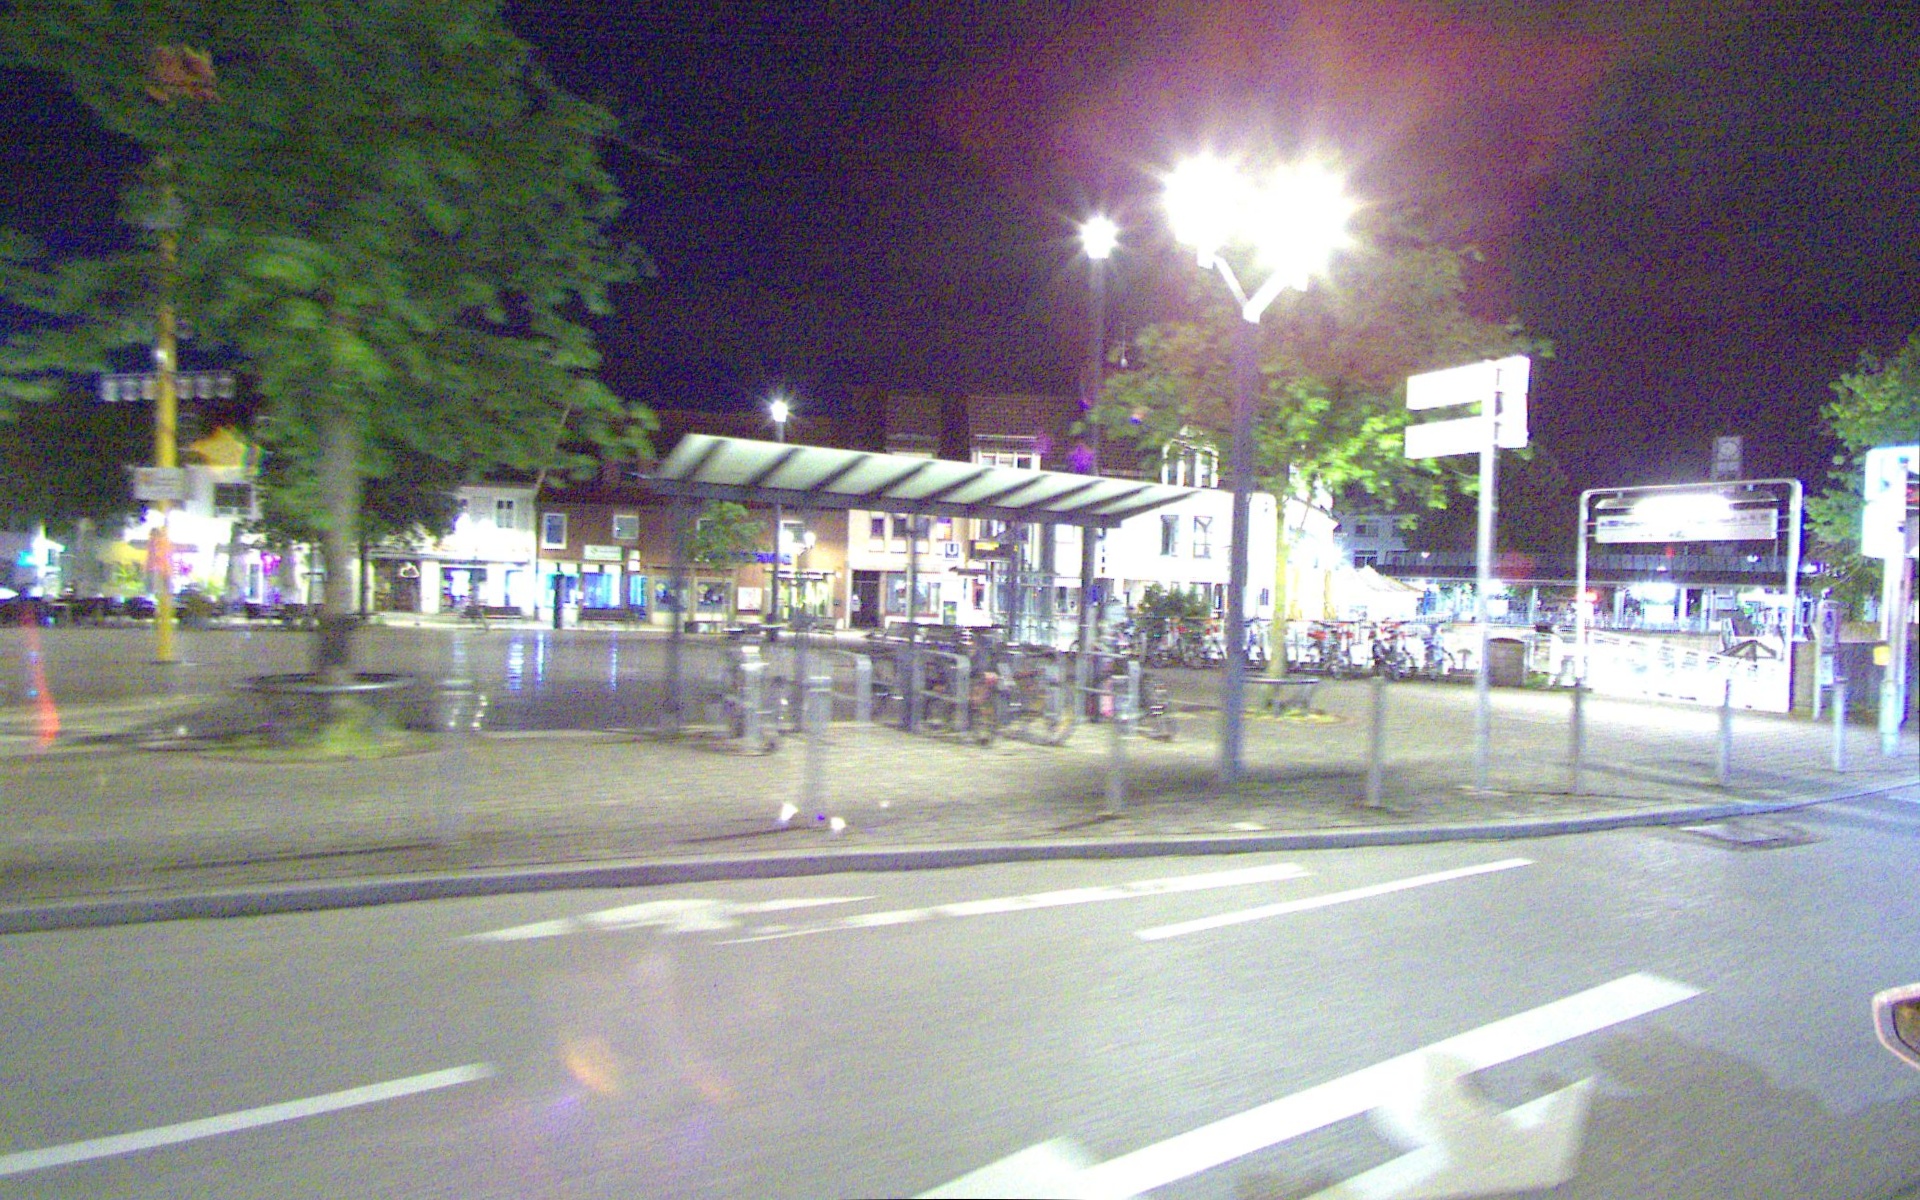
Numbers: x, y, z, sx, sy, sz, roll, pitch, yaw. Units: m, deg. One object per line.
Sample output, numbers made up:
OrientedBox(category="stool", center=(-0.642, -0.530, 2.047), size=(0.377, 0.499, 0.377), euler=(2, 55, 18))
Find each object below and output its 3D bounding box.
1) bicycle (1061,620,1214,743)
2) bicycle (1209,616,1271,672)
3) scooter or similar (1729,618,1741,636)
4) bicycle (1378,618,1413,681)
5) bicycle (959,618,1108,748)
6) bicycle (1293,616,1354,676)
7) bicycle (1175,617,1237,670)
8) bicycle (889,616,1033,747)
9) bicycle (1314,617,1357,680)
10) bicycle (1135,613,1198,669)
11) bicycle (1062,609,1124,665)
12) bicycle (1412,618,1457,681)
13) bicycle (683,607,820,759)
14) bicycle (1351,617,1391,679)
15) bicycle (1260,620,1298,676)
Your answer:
OrientedBox(category="bicycle", center=(1.809, 0.808, 10.479), size=(0.662, 1.120, 1.608), euler=(2, 0, -30))
OrientedBox(category="bicycle", center=(6.121, 0.930, 21.889), size=(0.600, 1.140, 1.737), euler=(0, 0, 42))
OrientedBox(category="scooter or similar", center=(57.368, 1.989, 74.357), size=(0.423, 1.302, 1.146), euler=(0, 0, 25))
OrientedBox(category="bicycle", center=(8.722, 0.969, 20.096), size=(0.535, 1.170, 1.744), euler=(0, 0, 27))
OrientedBox(category="bicycle", center=(0.692, 0.775, 9.994), size=(0.662, 1.120, 1.608), euler=(2, 0, -30))
OrientedBox(category="bicycle", center=(7.732, 0.957, 21.342), size=(0.600, 1.181, 1.737), euler=(0, 0, 42))
OrientedBox(category="bicycle", center=(5.530, 0.947, 22.549), size=(0.600, 1.115, 1.737), euler=(0, 0, 42))
OrientedBox(category="bicycle", center=(-0.030, 0.745, 9.763), size=(0.662, 1.120, 1.608), euler=(2, 0, -30))
OrientedBox(category="bicycle", center=(7.574, 0.944, 20.236), size=(0.598, 1.181, 1.744), euler=(0, 0, 27))
OrientedBox(category="bicycle", center=(4.685, 0.906, 22.689), size=(0.600, 1.181, 1.737), euler=(0, 0, 42))
OrientedBox(category="bicycle", center=(3.149, 0.851, 23.682), size=(0.600, 1.235, 1.737), euler=(0, 0, 42))
OrientedBox(category="bicycle", center=(9.574, 0.969, 20.234), size=(0.747, 1.177, 1.744), euler=(0, 0, 27))
OrientedBox(category="bicycle", center=(-1.888, 0.671, 8.900), size=(0.662, 1.179, 1.761), euler=(1, 0, -30))
OrientedBox(category="bicycle", center=(8.441, 0.962, 20.598), size=(0.598, 1.181, 1.744), euler=(0, 0, 27))
OrientedBox(category="bicycle", center=(6.790, 0.996, 21.342), size=(0.597, 1.084, 1.746), euler=(0, 0, 24))
